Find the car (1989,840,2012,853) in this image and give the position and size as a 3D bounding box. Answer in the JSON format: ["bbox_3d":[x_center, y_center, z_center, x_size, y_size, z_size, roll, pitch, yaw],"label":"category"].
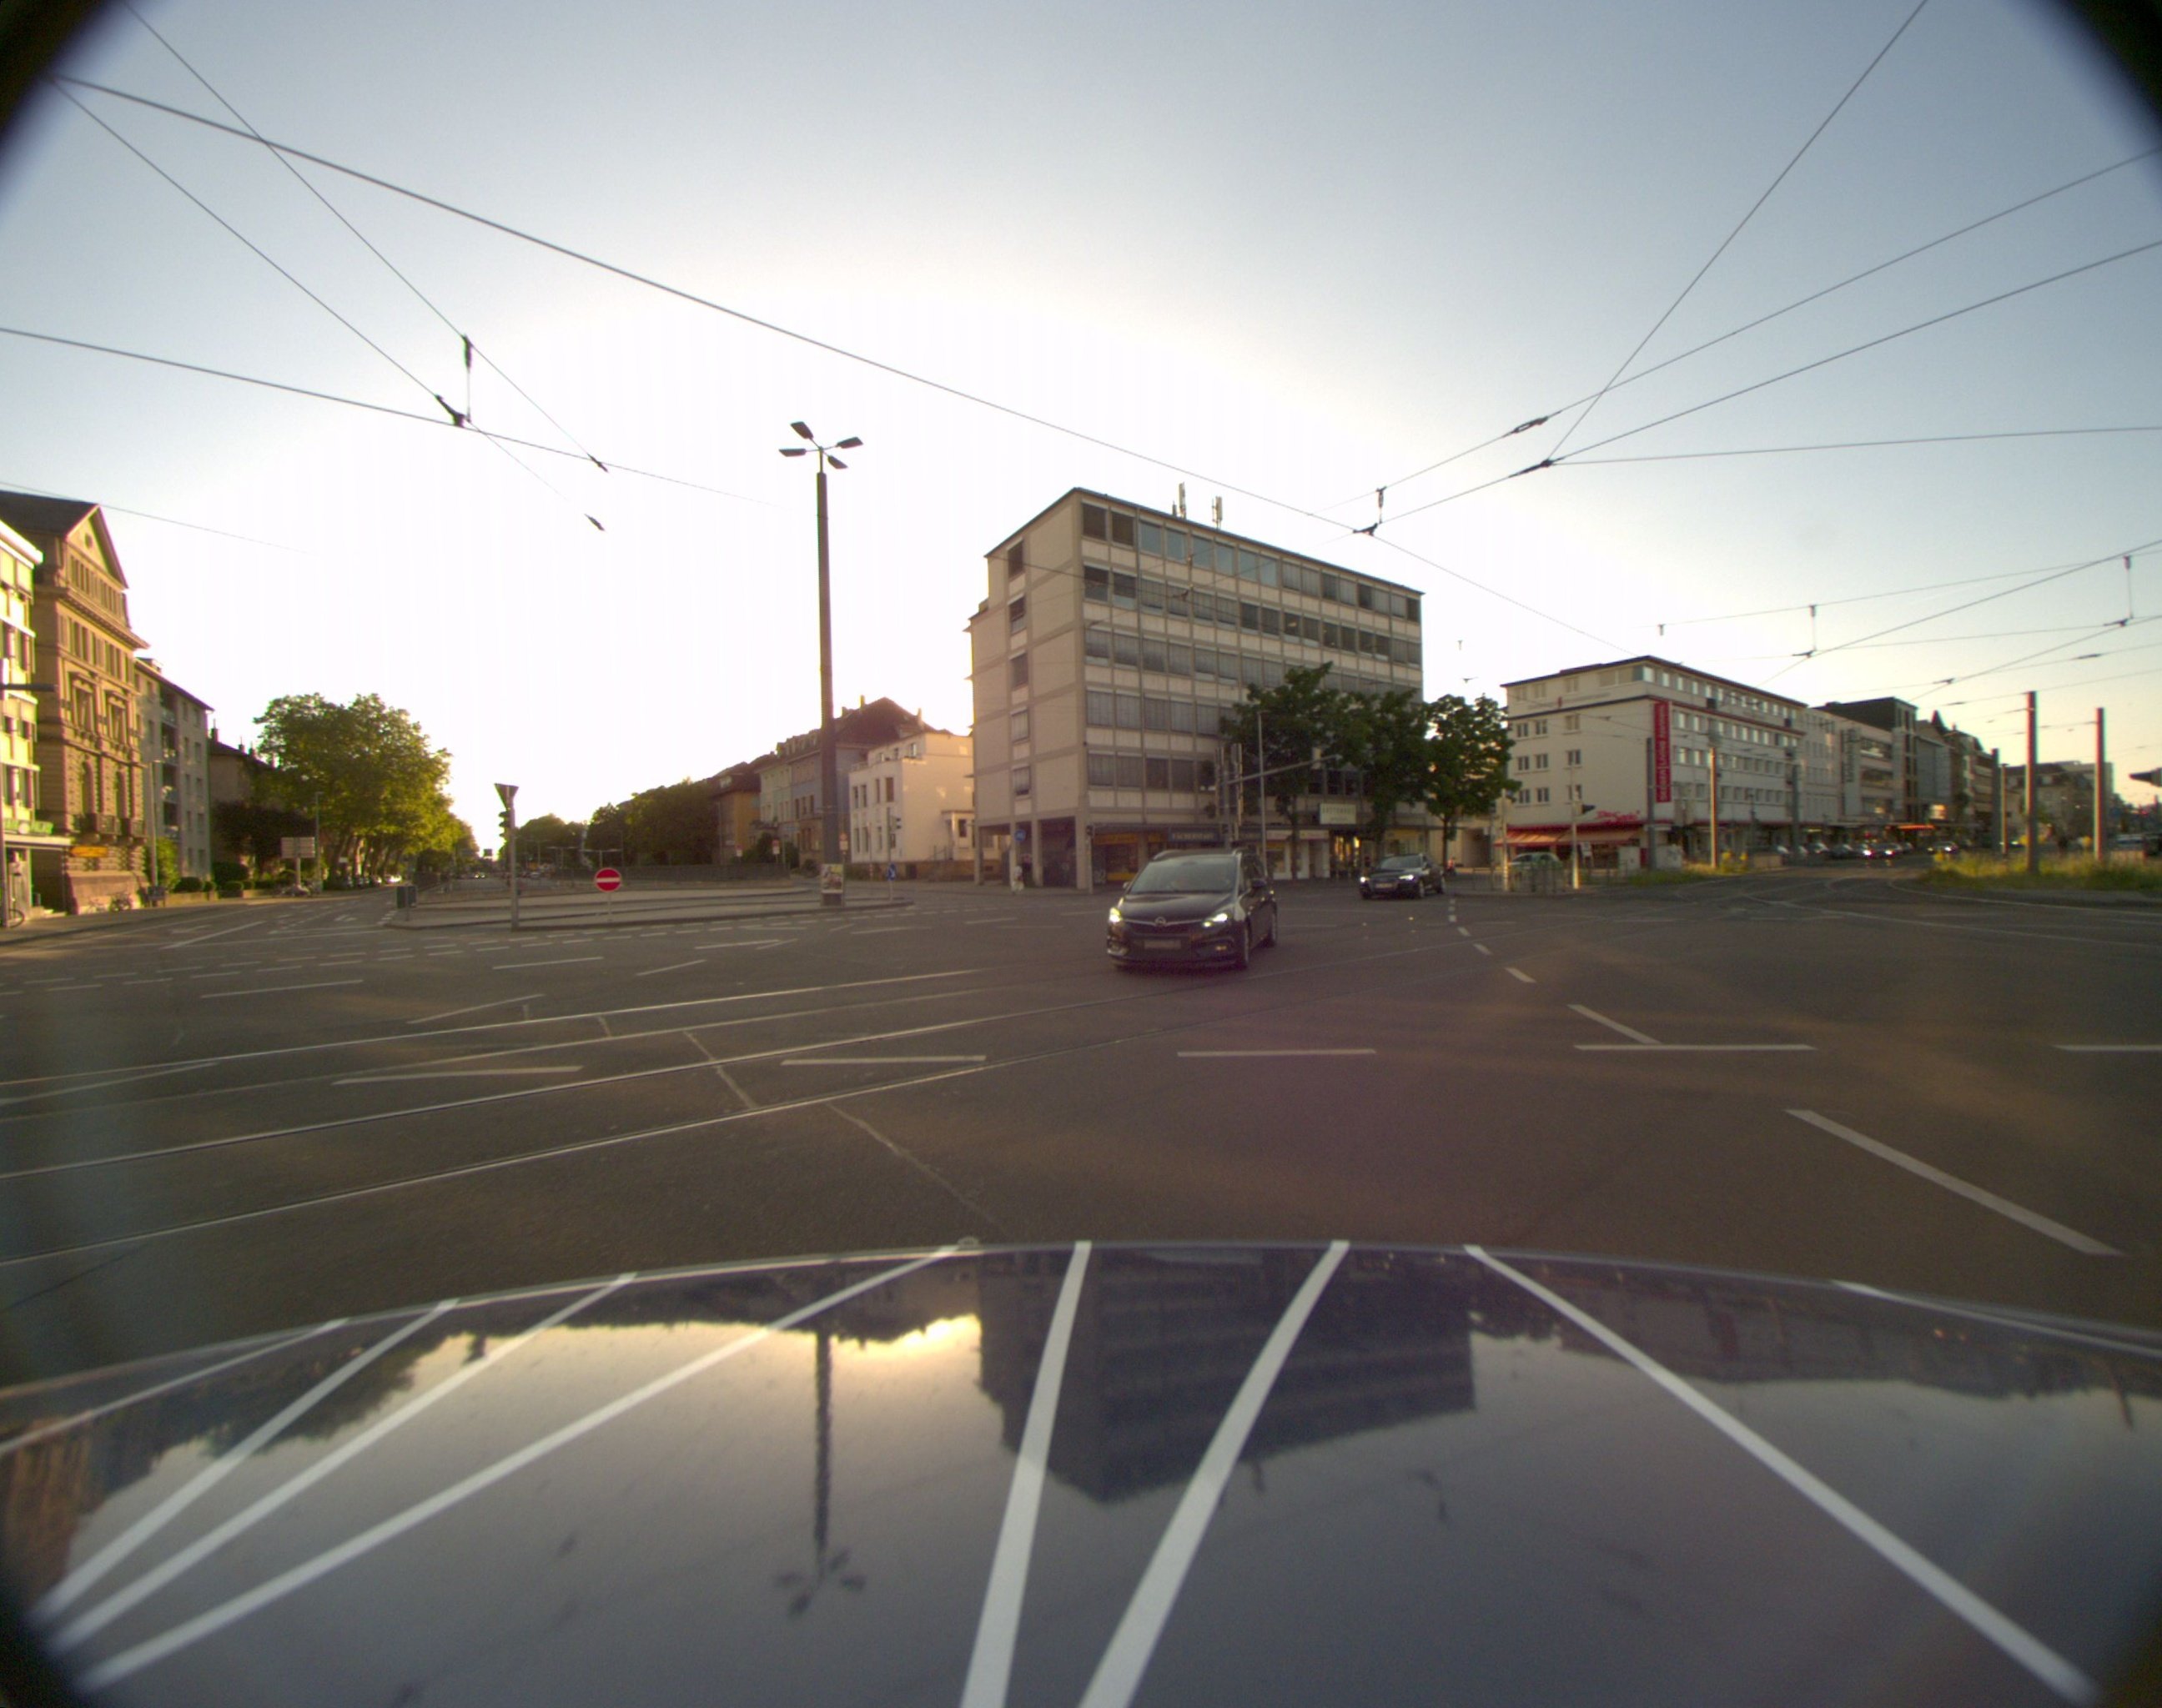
[{"bbox_3d":[138.502,-1.127,114.465,4.008,2.002,1.994,-2,1,-43],"label":"car"}]

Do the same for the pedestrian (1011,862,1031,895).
[{"bbox_3d":[-2.846,1.161,35.880,0.650,1.526,0.712,-1,2,21],"label":"pedestrian"}]

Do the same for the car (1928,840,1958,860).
[{"bbox_3d":[94.009,-0.445,82.871,4.008,2.002,1.995,-1,0,-39],"label":"car"}]

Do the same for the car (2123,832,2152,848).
[{"bbox_3d":[105.712,-1.389,76.069,3.010,1.570,1.506,-2,2,-39],"label":"car"}]

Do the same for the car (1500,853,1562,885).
[{"bbox_3d":[24.347,0.770,41.057,4.032,1.557,1.744,-1,1,-42],"label":"car"}]

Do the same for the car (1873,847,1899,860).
[{"bbox_3d":[85.921,-0.053,81.114,3.430,1.269,1.562,-1,1,-38],"label":"car"}]

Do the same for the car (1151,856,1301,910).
[{"bbox_3d":[5.197,0.929,26.788,5.588,1.618,2.026,-1,1,-39],"label":"car"}]

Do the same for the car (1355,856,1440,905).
[{"bbox_3d":[10.417,0.808,24.823,1.847,1.400,4.233,-1,1,32],"label":"car"}]

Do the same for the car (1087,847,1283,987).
[{"bbox_3d":[1.753,0.721,11.165,1.797,1.609,4.393,-1,0,22],"label":"car"}]

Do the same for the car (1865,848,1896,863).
[{"bbox_3d":[72.525,0.101,68.927,3.430,1.269,1.562,-1,0,-38],"label":"car"}]
